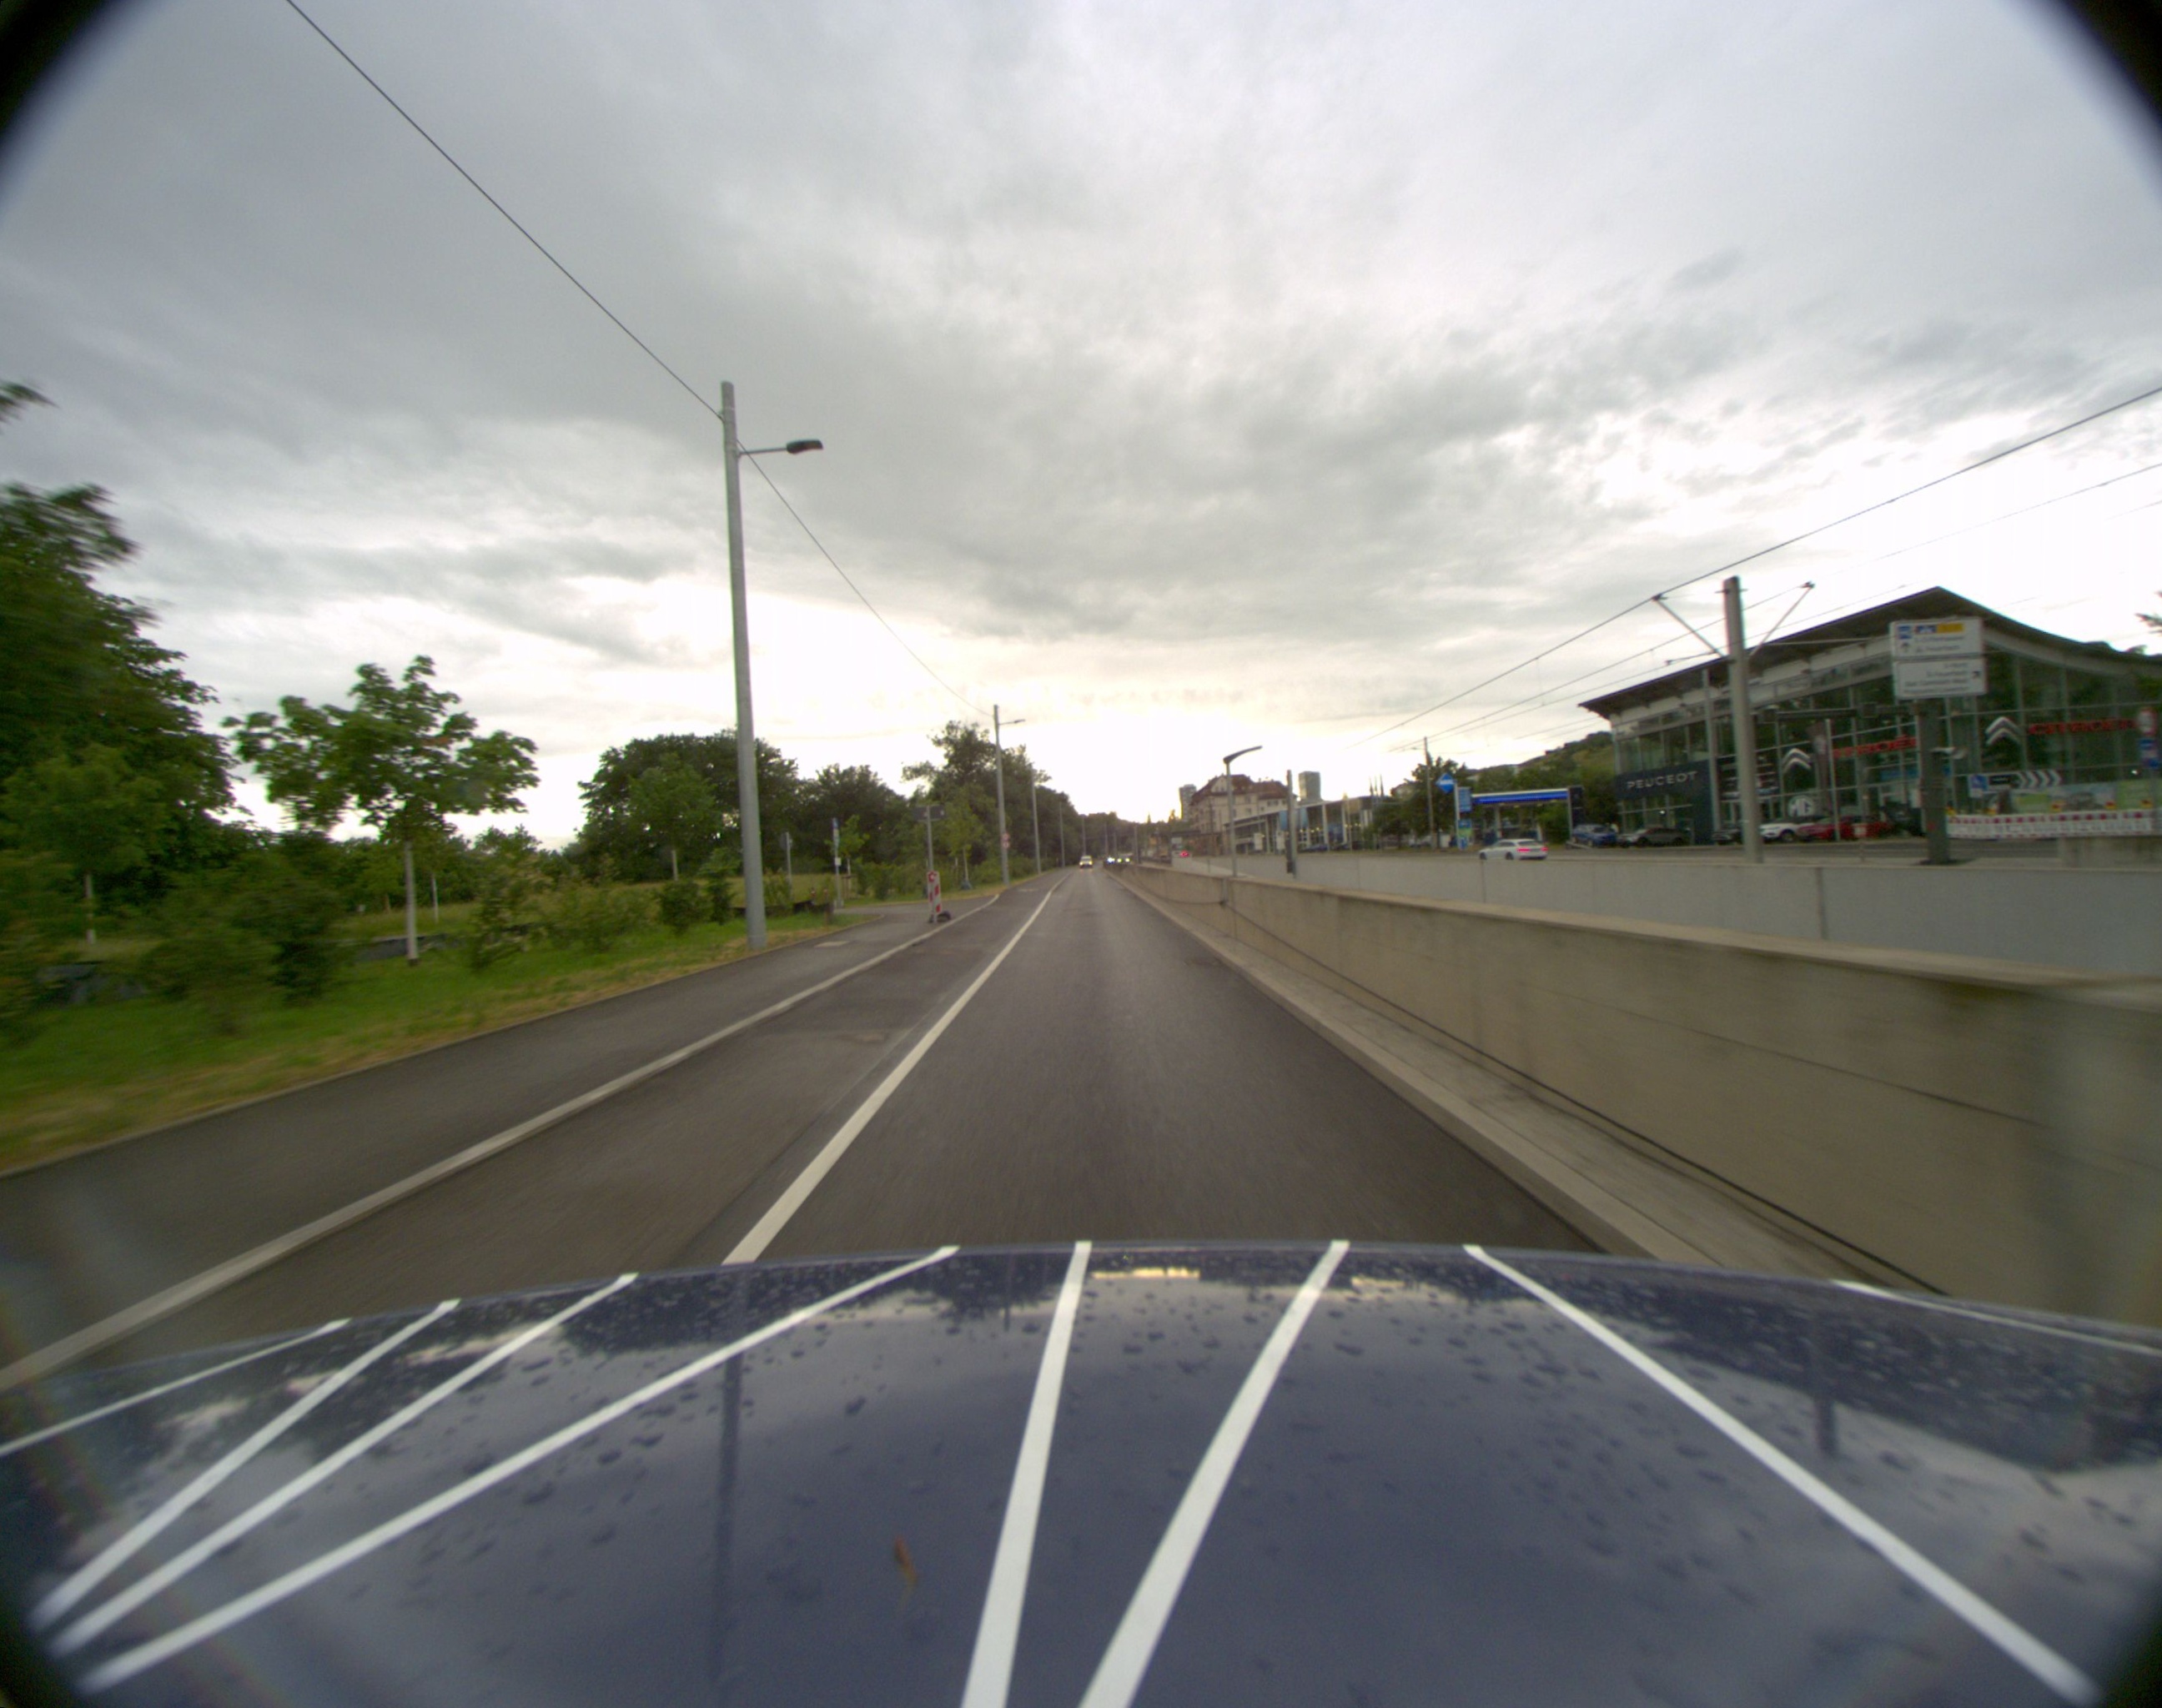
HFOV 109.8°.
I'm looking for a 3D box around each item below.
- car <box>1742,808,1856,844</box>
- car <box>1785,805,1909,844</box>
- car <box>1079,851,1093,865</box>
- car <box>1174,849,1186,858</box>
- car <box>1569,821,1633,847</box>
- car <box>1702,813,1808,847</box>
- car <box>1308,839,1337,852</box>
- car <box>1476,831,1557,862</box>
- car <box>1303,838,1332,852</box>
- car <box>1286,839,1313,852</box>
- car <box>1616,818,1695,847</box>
[{"bbox_3d":[40.767,-1.582,43.207,4.577,1.750,2.000,-3,0,0],"label":"car"},{"bbox_3d":[41.101,-1.550,40.835,4.577,1.750,2.000,-3,0,0],"label":"car"},{"bbox_3d":[0.696,0.551,114.985,1.998,2.002,4.000,-2,0,0],"label":"car"},{"bbox_3d":[24.126,-0.128,184.586,2.271,2.002,4.000,-3,0,0],"label":"car"},{"bbox_3d":[39.687,-1.529,58.117,1.999,1.761,3.999,-3,0,-2],"label":"car"},{"bbox_3d":[40.496,-1.437,45.739,4.577,1.750,2.000,-3,0,0],"label":"car"},{"bbox_3d":[39.154,-1.365,123.399,3.997,2.002,2.000,-3,0,1],"label":"car"},{"bbox_3d":[26.367,-0.436,46.186,2.119,1.706,4.579,-3,0,-2],"label":"car"},{"bbox_3d":[39.162,-1.495,125.877,3.997,2.002,2.000,-3,0,1],"label":"car"},{"bbox_3d":[37.044,-1.478,128.734,3.997,2.002,2.000,-3,0,1],"label":"car"},{"bbox_3d":[40.386,-1.510,53.510,3.997,1.761,2.000,-3,0,0],"label":"car"}]
